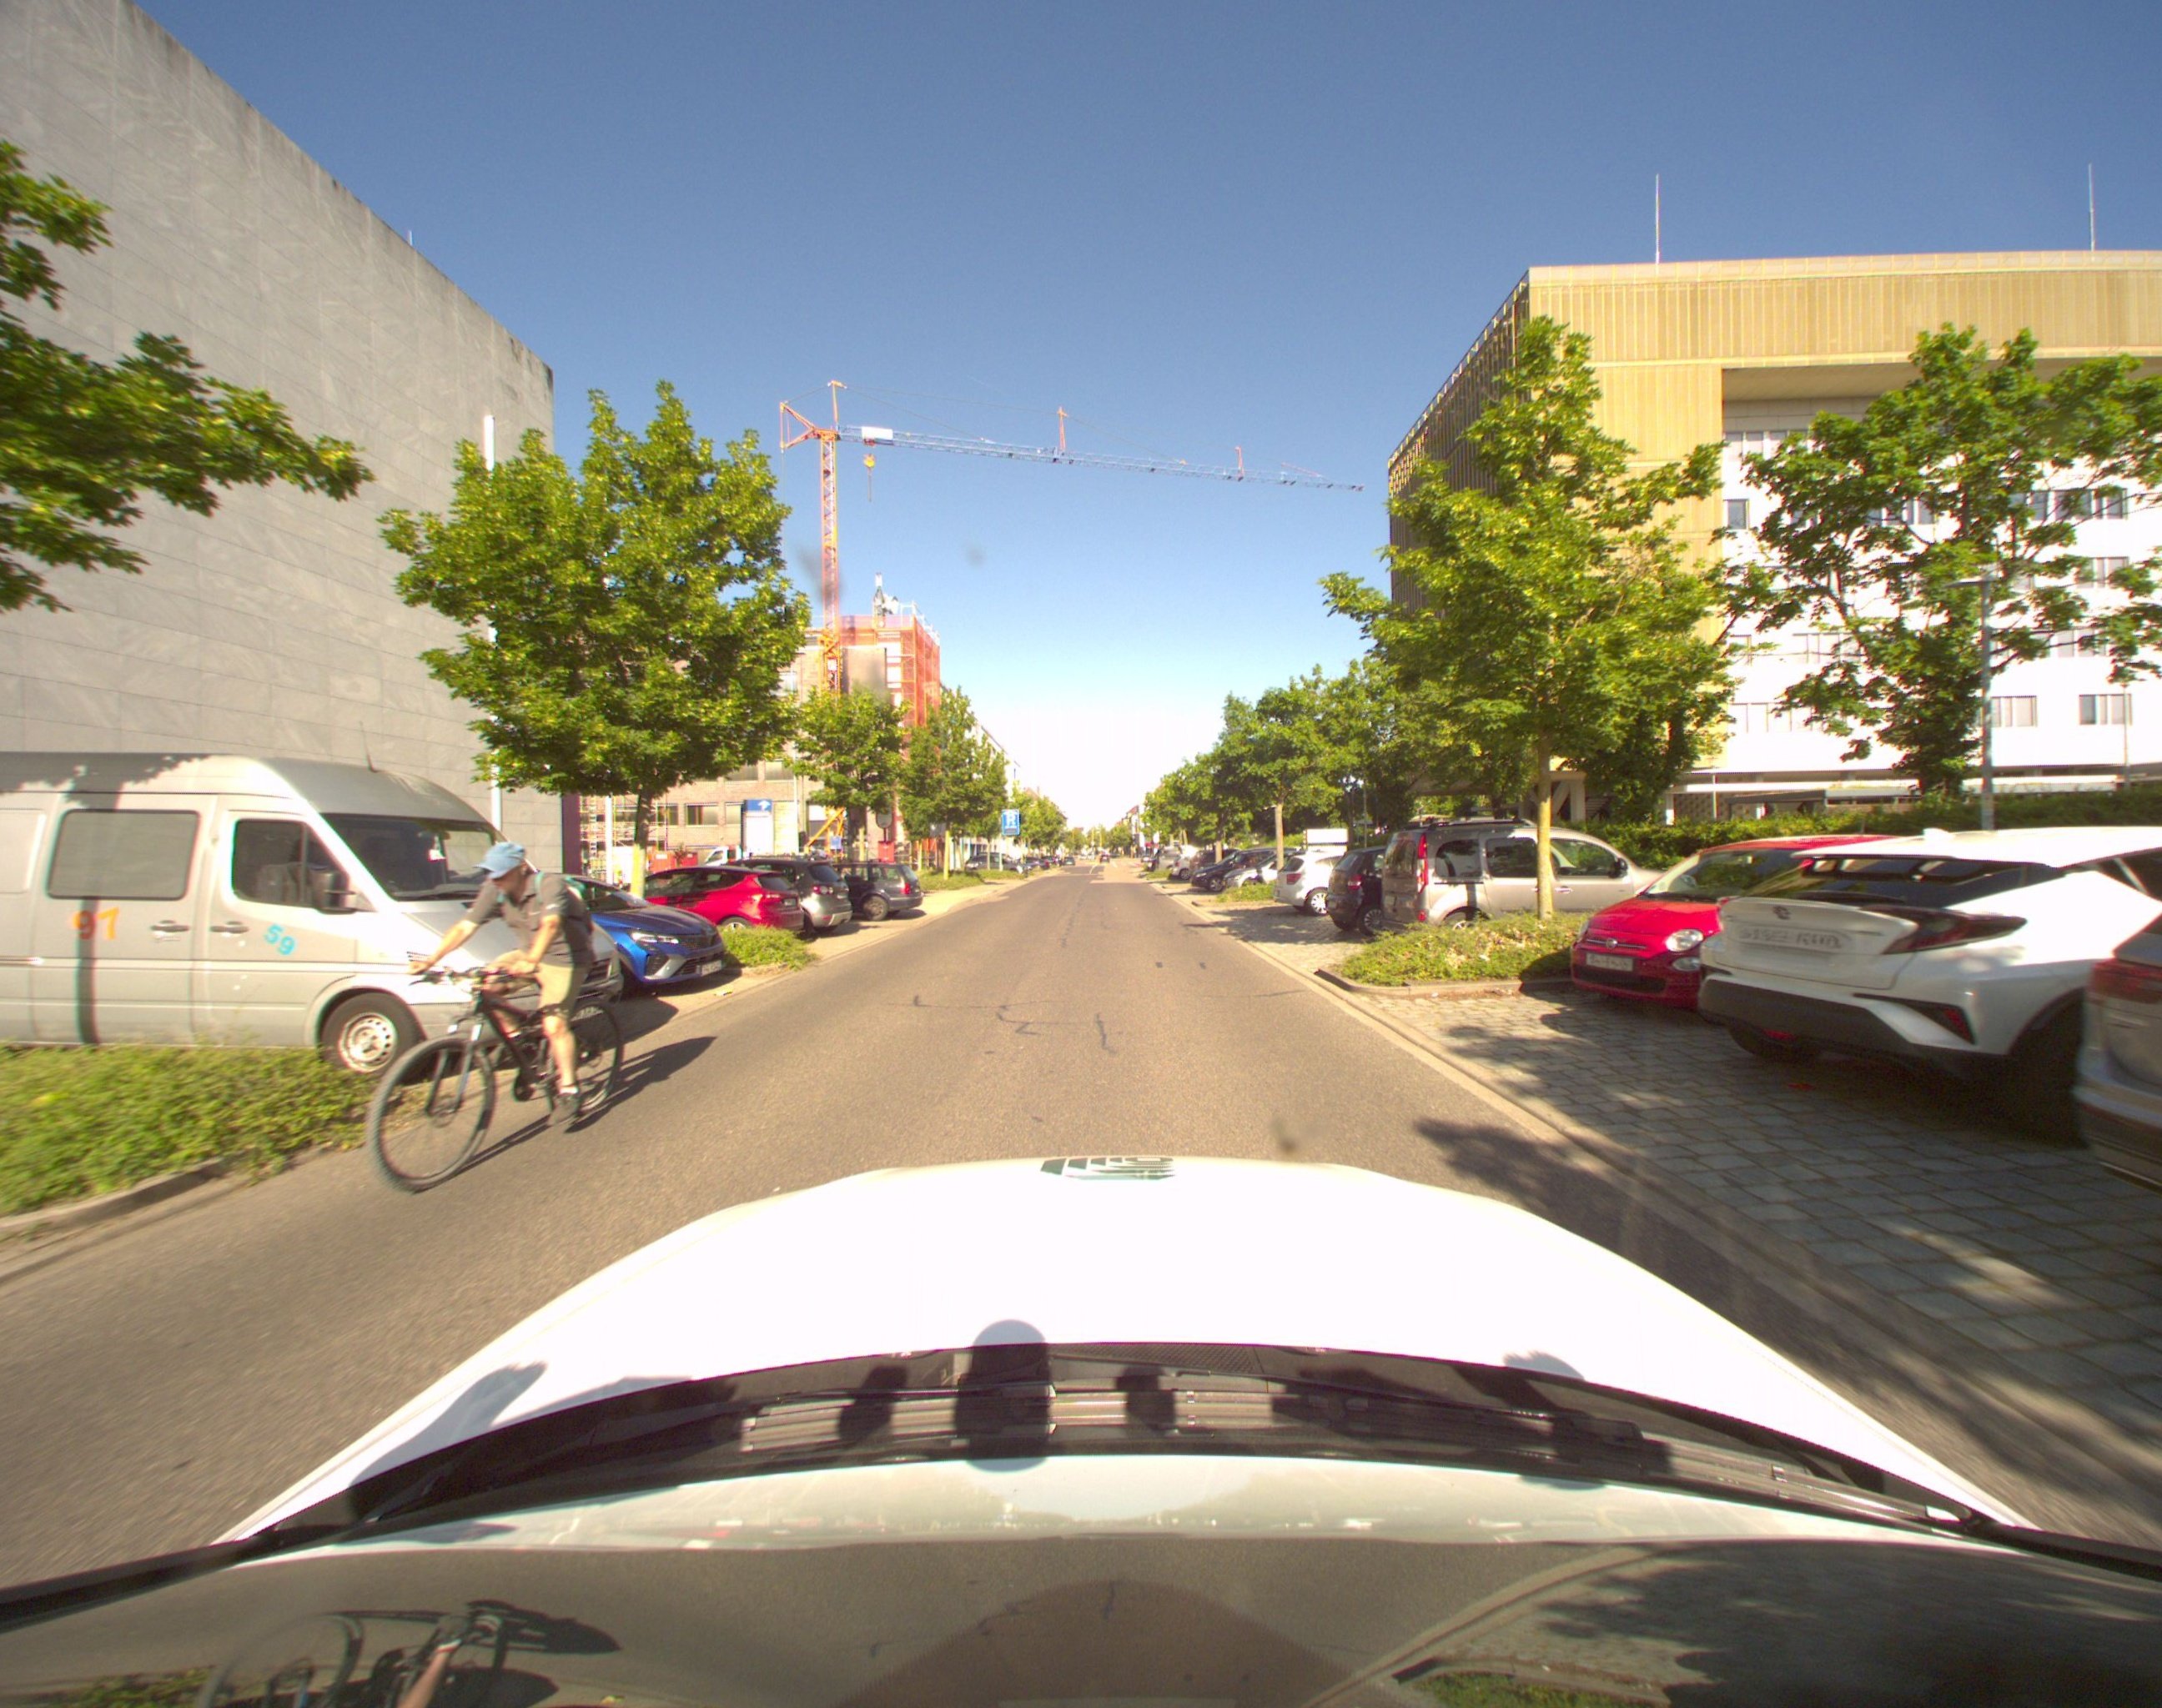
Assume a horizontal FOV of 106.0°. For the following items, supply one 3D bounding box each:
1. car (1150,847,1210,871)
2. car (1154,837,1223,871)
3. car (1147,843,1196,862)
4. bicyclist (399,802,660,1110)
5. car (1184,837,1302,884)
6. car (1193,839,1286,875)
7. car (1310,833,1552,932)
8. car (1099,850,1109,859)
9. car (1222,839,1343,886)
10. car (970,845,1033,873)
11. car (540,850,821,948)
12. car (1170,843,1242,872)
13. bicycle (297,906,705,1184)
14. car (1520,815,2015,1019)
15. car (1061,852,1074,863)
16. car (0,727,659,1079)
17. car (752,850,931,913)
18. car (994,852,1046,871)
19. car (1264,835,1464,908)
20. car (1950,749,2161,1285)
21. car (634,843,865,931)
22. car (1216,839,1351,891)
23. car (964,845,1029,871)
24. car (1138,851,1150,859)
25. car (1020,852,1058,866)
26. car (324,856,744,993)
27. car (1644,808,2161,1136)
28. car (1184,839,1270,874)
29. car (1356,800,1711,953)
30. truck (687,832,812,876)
[{"bbox_3d":[6.683,0.353,55.144,3.894,1.474,1.798,-2,1,5],"label":"car"},{"bbox_3d":[6.458,-0.014,49.360,3.972,1.879,1.683,-2,1,1],"label":"car"},{"bbox_3d":[7.385,-0.109,66.471,3.894,1.475,1.760,-2,-1,5],"label":"car"},{"bbox_3d":[-3.158,0.534,4.778,0.680,1.581,1.063,-3,0,6],"label":"bicyclist"},{"bbox_3d":[6.114,0.230,31.131,4.131,1.580,1.741,-2,0,0],"label":"car"},{"bbox_3d":[7.309,0.156,37.895,3.972,1.538,1.862,-2,-1,1],"label":"car"},{"bbox_3d":[6.126,0.454,14.529,3.595,1.549,1.706,-2,1,-1],"label":"car"},{"bbox_3d":[4.222,0.073,149.735,1.804,1.474,4.113,-2,1,2],"label":"car"},{"bbox_3d":[7.077,0.275,28.797,3.851,1.504,1.651,-2,0,-1],"label":"car"},{"bbox_3d":[-5.882,0.365,60.448,4.313,1.861,1.819,-2,1,3],"label":"car"},{"bbox_3d":[-6.920,0.750,14.375,3.971,1.517,1.856,-1,0,2],"label":"car"},{"bbox_3d":[6.909,0.207,45.396,3.753,1.459,1.818,-2,0,1],"label":"car"},{"bbox_3d":[-3.148,0.948,4.773,0.694,1.111,2.083,-3,0,6],"label":"bicycle"},{"bbox_3d":[6.126,0.497,7.476,3.360,1.530,1.596,-2,0,-7],"label":"car"},{"bbox_3d":[-2.041,0.525,123.077,1.805,1.474,4.111,-2,1,0],"label":"car"},{"bbox_3d":[-6.746,0.314,6.688,5.528,2.409,1.989,0,0,3],"label":"car"},{"bbox_3d":[-6.125,0.685,21.194,4.119,1.492,1.868,0,1,-2],"label":"car"},{"bbox_3d":[-5.237,0.616,70.543,4.320,1.474,1.816,-2,1,-2],"label":"car"},{"bbox_3d":[6.506,0.397,19.055,4.045,1.425,1.743,-3,0,2],"label":"car"},{"bbox_3d":[5.347,0.470,2.251,3.887,1.695,1.940,-2,1,-1],"label":"car"},{"bbox_3d":[-6.701,0.635,16.749,3.969,1.664,1.830,0,0,4],"label":"car"},{"bbox_3d":[6.409,0.339,26.110,3.887,1.486,1.743,-2,0,0],"label":"car"},{"bbox_3d":[-5.765,0.268,55.817,4.247,1.665,1.599,-2,1,0],"label":"car"},{"bbox_3d":[11.891,0.189,153.499,1.983,1.474,4.109,-2,1,-1],"label":"car"},{"bbox_3d":[-4.924,0.588,95.513,4.316,1.474,1.818,-2,1,0],"label":"car"},{"bbox_3d":[-6.441,0.781,9.909,3.916,1.485,1.787,0,0,2],"label":"car"},{"bbox_3d":[5.691,0.515,4.890,3.490,1.529,1.736,-2,1,-4],"label":"car"},{"bbox_3d":[7.225,0.113,40.565,3.972,1.582,2.032,-2,0,1],"label":"car"},{"bbox_3d":[6.415,0.271,11.915,4.106,1.927,1.978,-2,1,-1],"label":"car"},{"bbox_3d":[-20.733,-0.007,51.141,6.829,2.547,2.282,-2,1,3],"label":"truck"}]
